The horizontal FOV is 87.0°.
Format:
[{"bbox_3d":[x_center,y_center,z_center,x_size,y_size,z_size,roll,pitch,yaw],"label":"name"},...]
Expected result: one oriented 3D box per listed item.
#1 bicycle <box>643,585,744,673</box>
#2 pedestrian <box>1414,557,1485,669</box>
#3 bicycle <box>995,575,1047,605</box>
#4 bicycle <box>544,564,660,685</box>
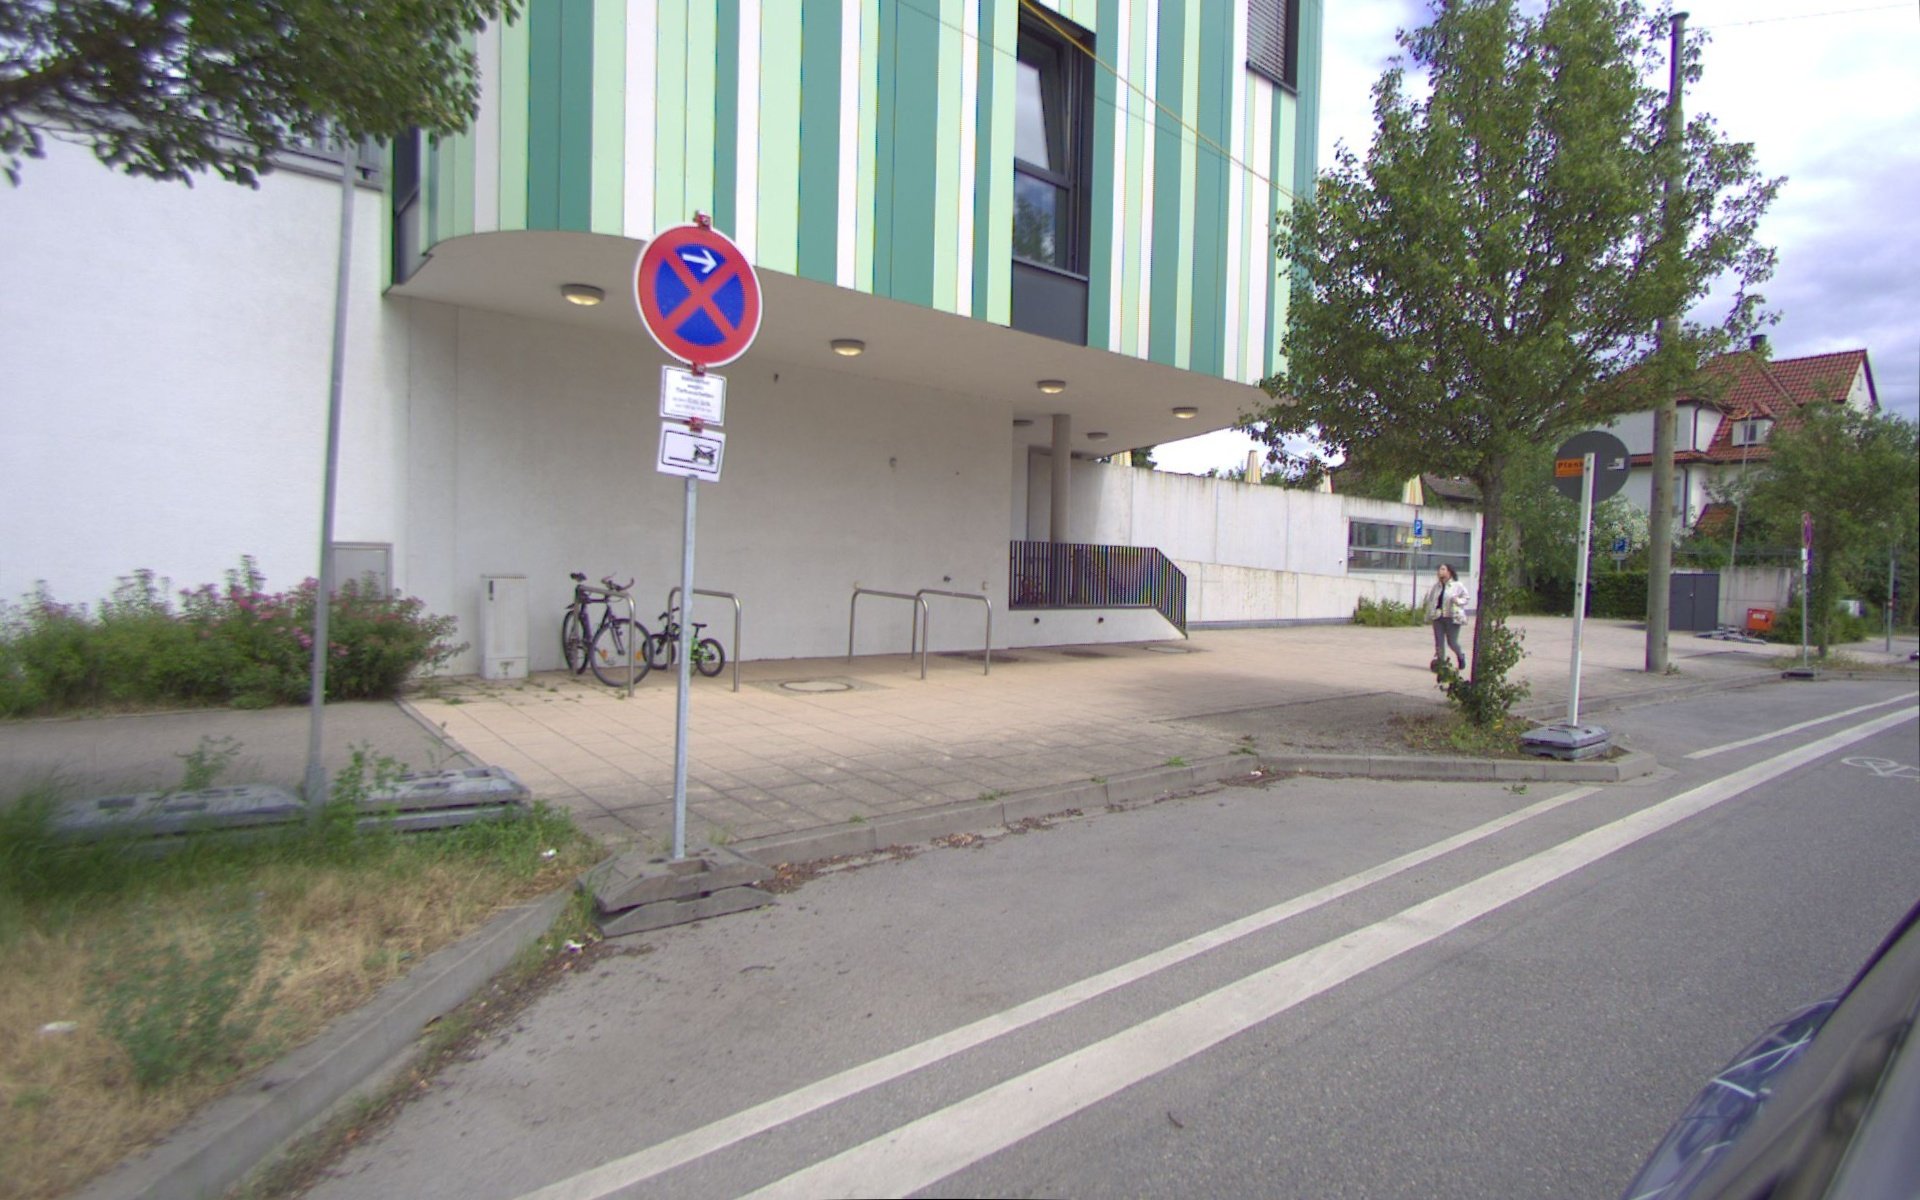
[{"bbox_3d":[-2.798,0.296,10.618,1.011,0.852,0.305,3,2,18],"label":"bicycle"},{"bbox_3d":[7.122,0.174,14.715,0.853,1.570,0.582,0,3,-41],"label":"pedestrian"},{"bbox_3d":[0.975,-0.159,16.142,0.784,0.458,0.307,0,2,-35],"label":"bicycle"},{"bbox_3d":[-3.473,0.206,9.773,1.462,1.058,0.303,4,2,38],"label":"bicycle"}]
